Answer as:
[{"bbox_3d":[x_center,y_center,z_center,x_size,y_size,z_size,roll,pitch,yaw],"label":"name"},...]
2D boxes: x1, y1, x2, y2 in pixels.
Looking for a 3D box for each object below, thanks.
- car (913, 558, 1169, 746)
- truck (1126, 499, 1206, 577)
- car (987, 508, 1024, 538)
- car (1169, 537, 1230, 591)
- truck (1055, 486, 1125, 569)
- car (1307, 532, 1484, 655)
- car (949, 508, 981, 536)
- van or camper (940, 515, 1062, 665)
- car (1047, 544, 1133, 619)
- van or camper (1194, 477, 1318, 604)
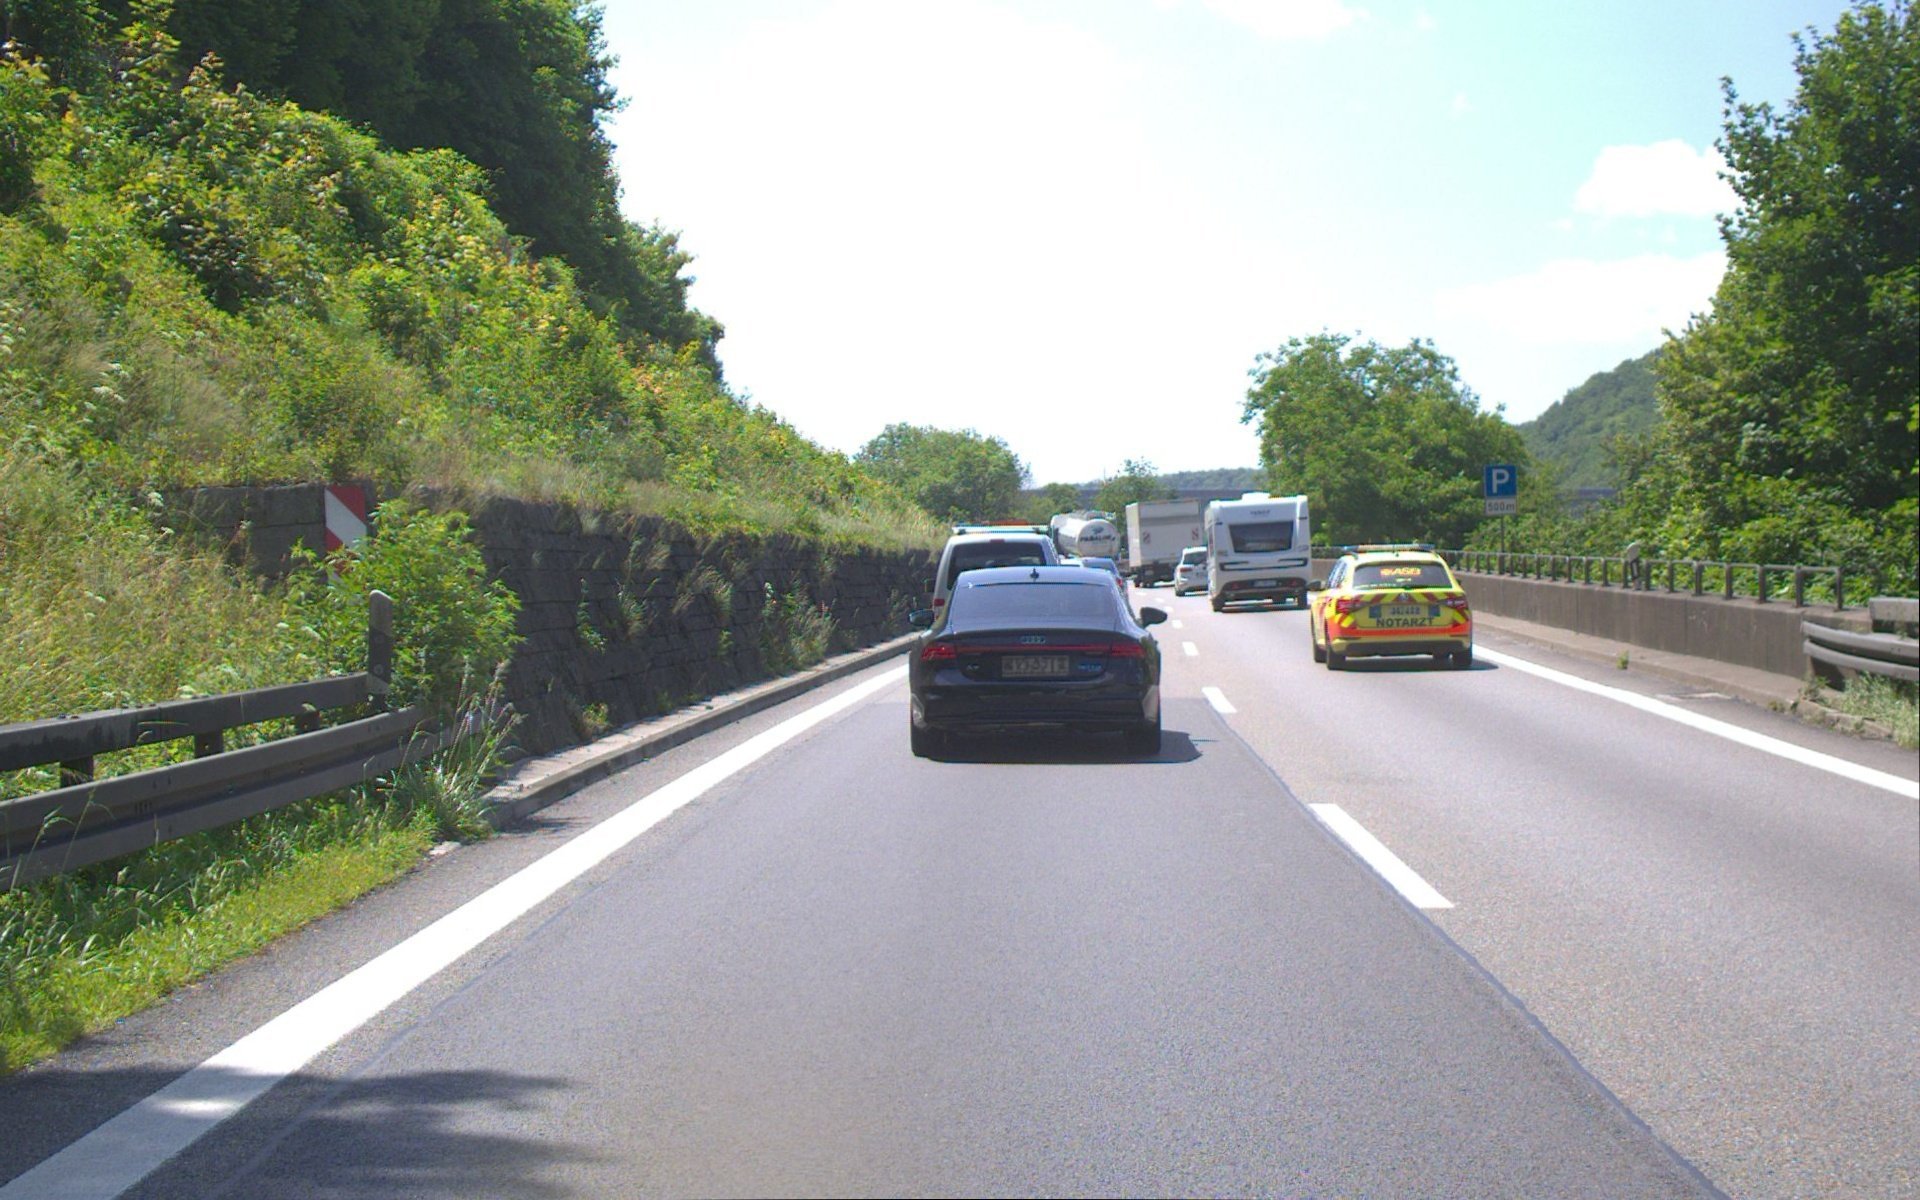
[{"bbox_3d":[0.596,0.376,26.781,1.837,1.345,4.000,0,0,0],"label":"car"},{"bbox_3d":[8.429,-2.544,141.125,2.841,3.120,7.480,0,1,0],"label":"truck"},{"bbox_3d":[2.981,-5.076,226.912,1.993,2.007,4.001,0,1,-6],"label":"car"},{"bbox_3d":[7.810,-1.195,112.347,1.841,1.711,4.000,0,1,2],"label":"car"},{"bbox_3d":[6.544,-3.662,174.505,2.732,4.082,7.481,0,1,-4],"label":"truck"},{"bbox_3d":[5.484,-0.078,43.707,1.863,1.483,4.000,0,0,2],"label":"car"},{"bbox_3d":[0.356,-5.749,252.998,1.993,2.007,4.001,0,1,-6],"label":"car"},{"bbox_3d":[0.485,-0.125,43.568,1.391,1.810,4.000,0,0,-2],"label":"van or camper"},{"bbox_3d":[2.904,-0.431,77.408,1.773,1.631,4.000,0,1,0],"label":"car"},{"bbox_3d":[6.999,-1.356,81.999,2.455,2.908,6.126,0,0,0],"label":"van or camper"}]
